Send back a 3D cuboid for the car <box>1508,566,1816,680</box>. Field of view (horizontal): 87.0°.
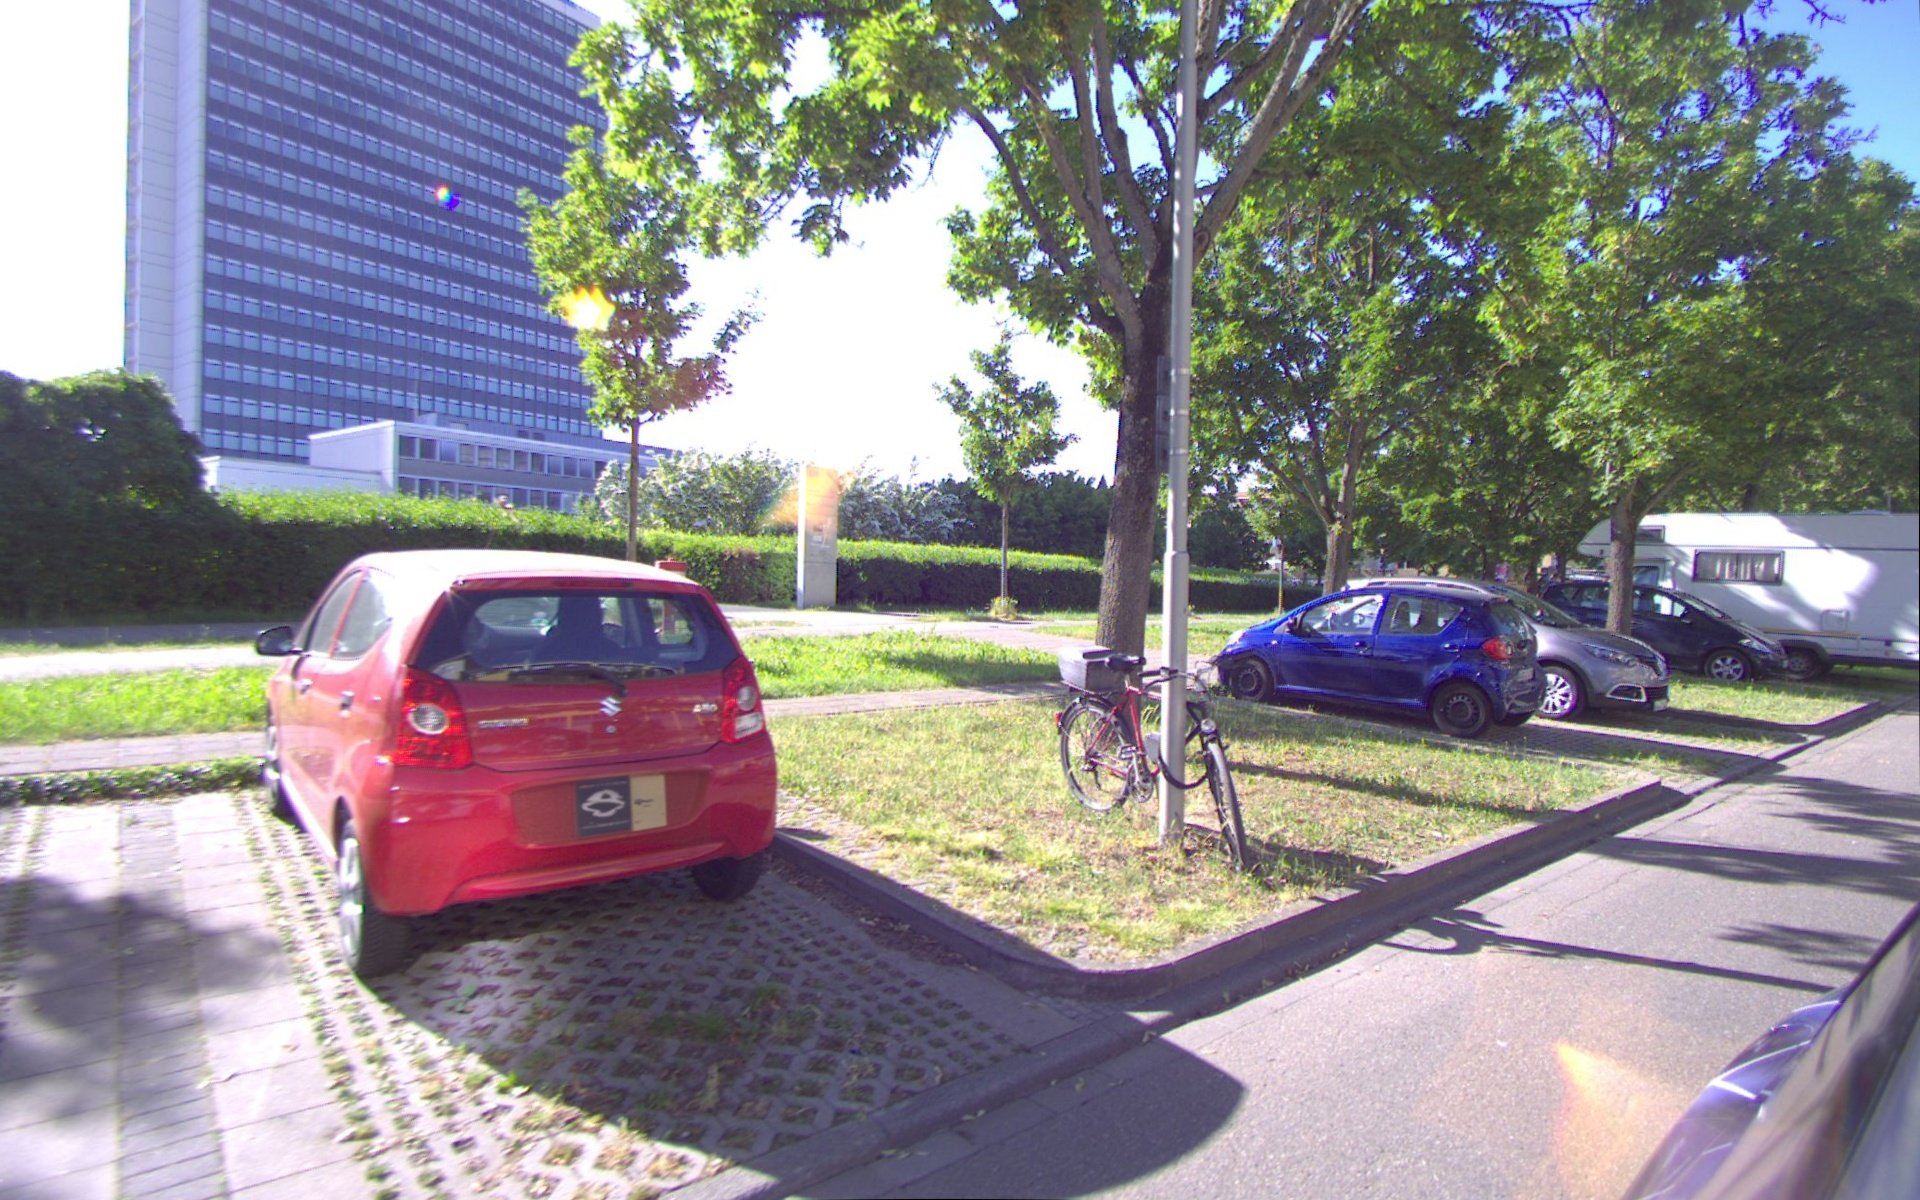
[{"bbox_3d":[12.419,0.315,18.104,1.827,1.564,4.157,0,4,-42],"label":"car"}]

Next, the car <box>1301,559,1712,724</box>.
[{"bbox_3d":[6.805,0.381,13.000,1.826,1.564,4.206,1,4,-39],"label":"car"}]

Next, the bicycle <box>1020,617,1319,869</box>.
[{"bbox_3d":[1.027,0.661,5.429,0.519,1.003,1.760,1,3,-29],"label":"bicycle"}]

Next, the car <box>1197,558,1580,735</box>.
[{"bbox_3d":[4.706,0.386,11.409,1.828,1.497,3.467,0,4,-43],"label":"car"}]

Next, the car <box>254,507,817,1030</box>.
[{"bbox_3d":[-2.306,0.401,4.931,1.598,1.562,3.444,0,5,-39],"label":"car"}]

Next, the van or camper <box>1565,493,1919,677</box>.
[{"bbox_3d":[15.323,-0.407,19.171,2.624,3.019,5.995,0,4,-41],"label":"van or camper"}]
